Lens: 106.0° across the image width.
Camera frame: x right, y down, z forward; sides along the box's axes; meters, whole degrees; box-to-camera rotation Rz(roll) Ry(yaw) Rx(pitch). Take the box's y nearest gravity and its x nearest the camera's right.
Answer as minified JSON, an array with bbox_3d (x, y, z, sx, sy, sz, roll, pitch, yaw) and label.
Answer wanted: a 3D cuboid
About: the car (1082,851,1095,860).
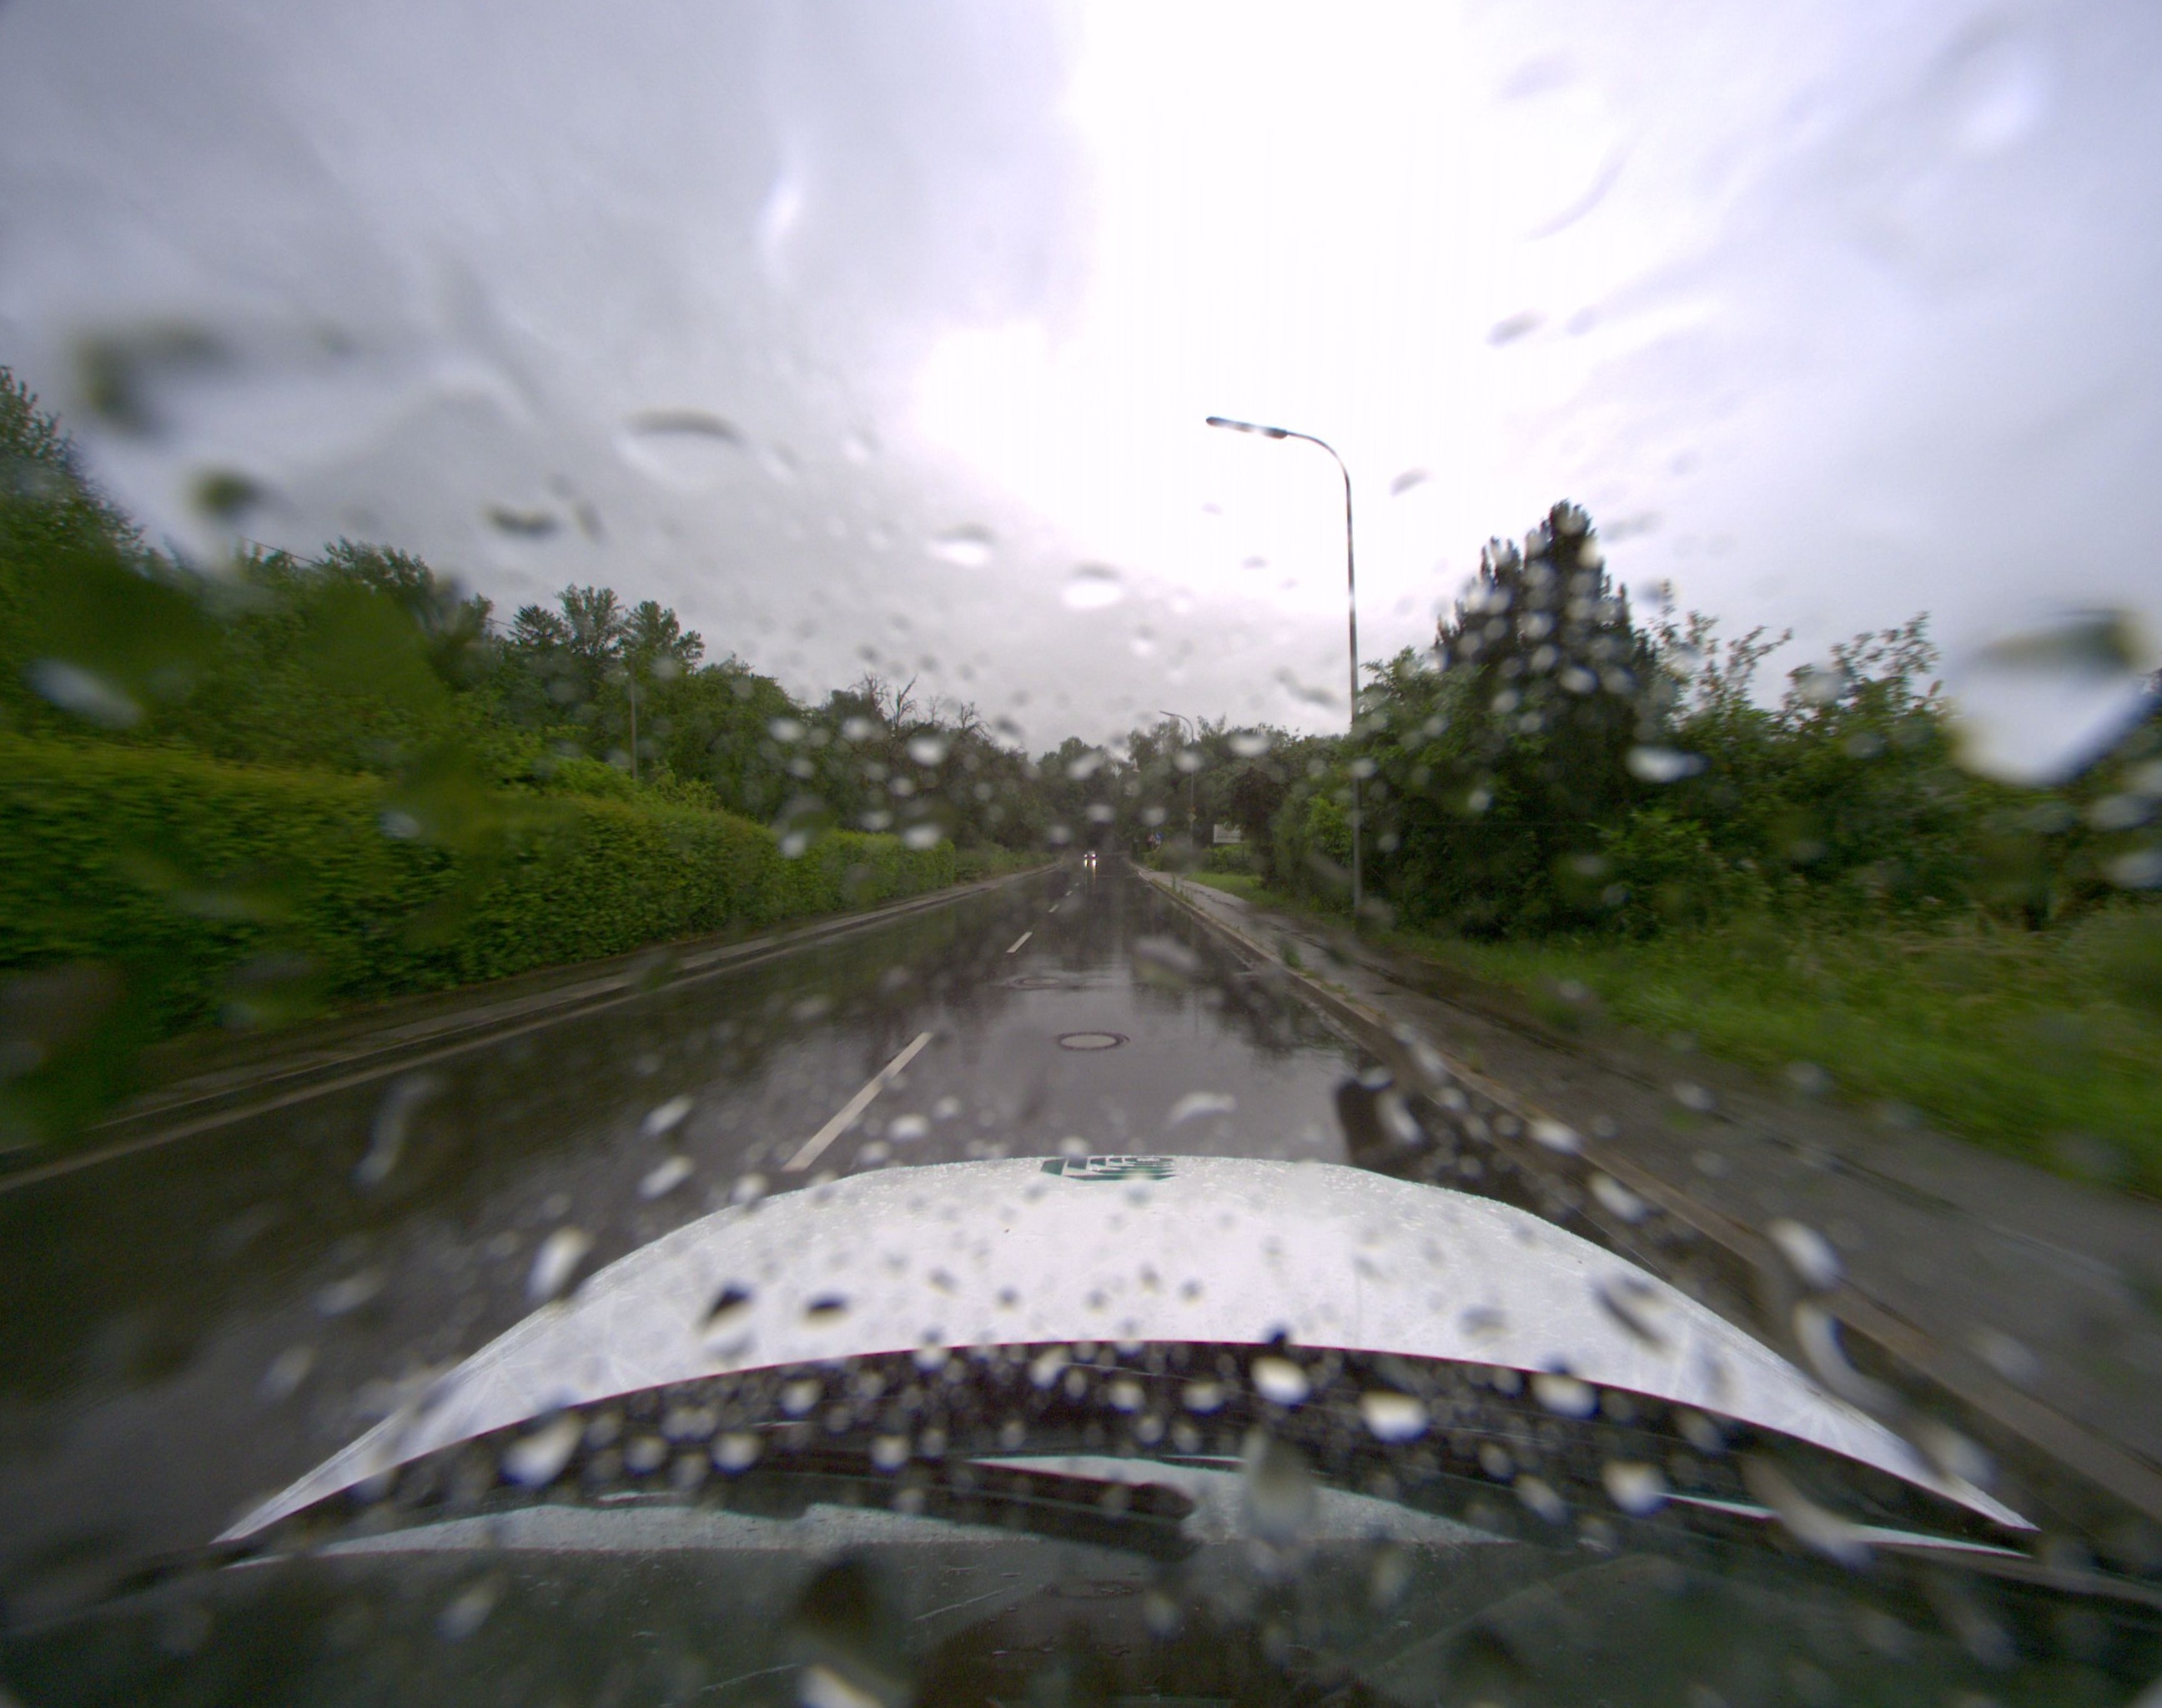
[{"bbox_3d":[1.276,0.200,139.113,1.986,1.454,4.430,0,1,2],"label":"car"}]
